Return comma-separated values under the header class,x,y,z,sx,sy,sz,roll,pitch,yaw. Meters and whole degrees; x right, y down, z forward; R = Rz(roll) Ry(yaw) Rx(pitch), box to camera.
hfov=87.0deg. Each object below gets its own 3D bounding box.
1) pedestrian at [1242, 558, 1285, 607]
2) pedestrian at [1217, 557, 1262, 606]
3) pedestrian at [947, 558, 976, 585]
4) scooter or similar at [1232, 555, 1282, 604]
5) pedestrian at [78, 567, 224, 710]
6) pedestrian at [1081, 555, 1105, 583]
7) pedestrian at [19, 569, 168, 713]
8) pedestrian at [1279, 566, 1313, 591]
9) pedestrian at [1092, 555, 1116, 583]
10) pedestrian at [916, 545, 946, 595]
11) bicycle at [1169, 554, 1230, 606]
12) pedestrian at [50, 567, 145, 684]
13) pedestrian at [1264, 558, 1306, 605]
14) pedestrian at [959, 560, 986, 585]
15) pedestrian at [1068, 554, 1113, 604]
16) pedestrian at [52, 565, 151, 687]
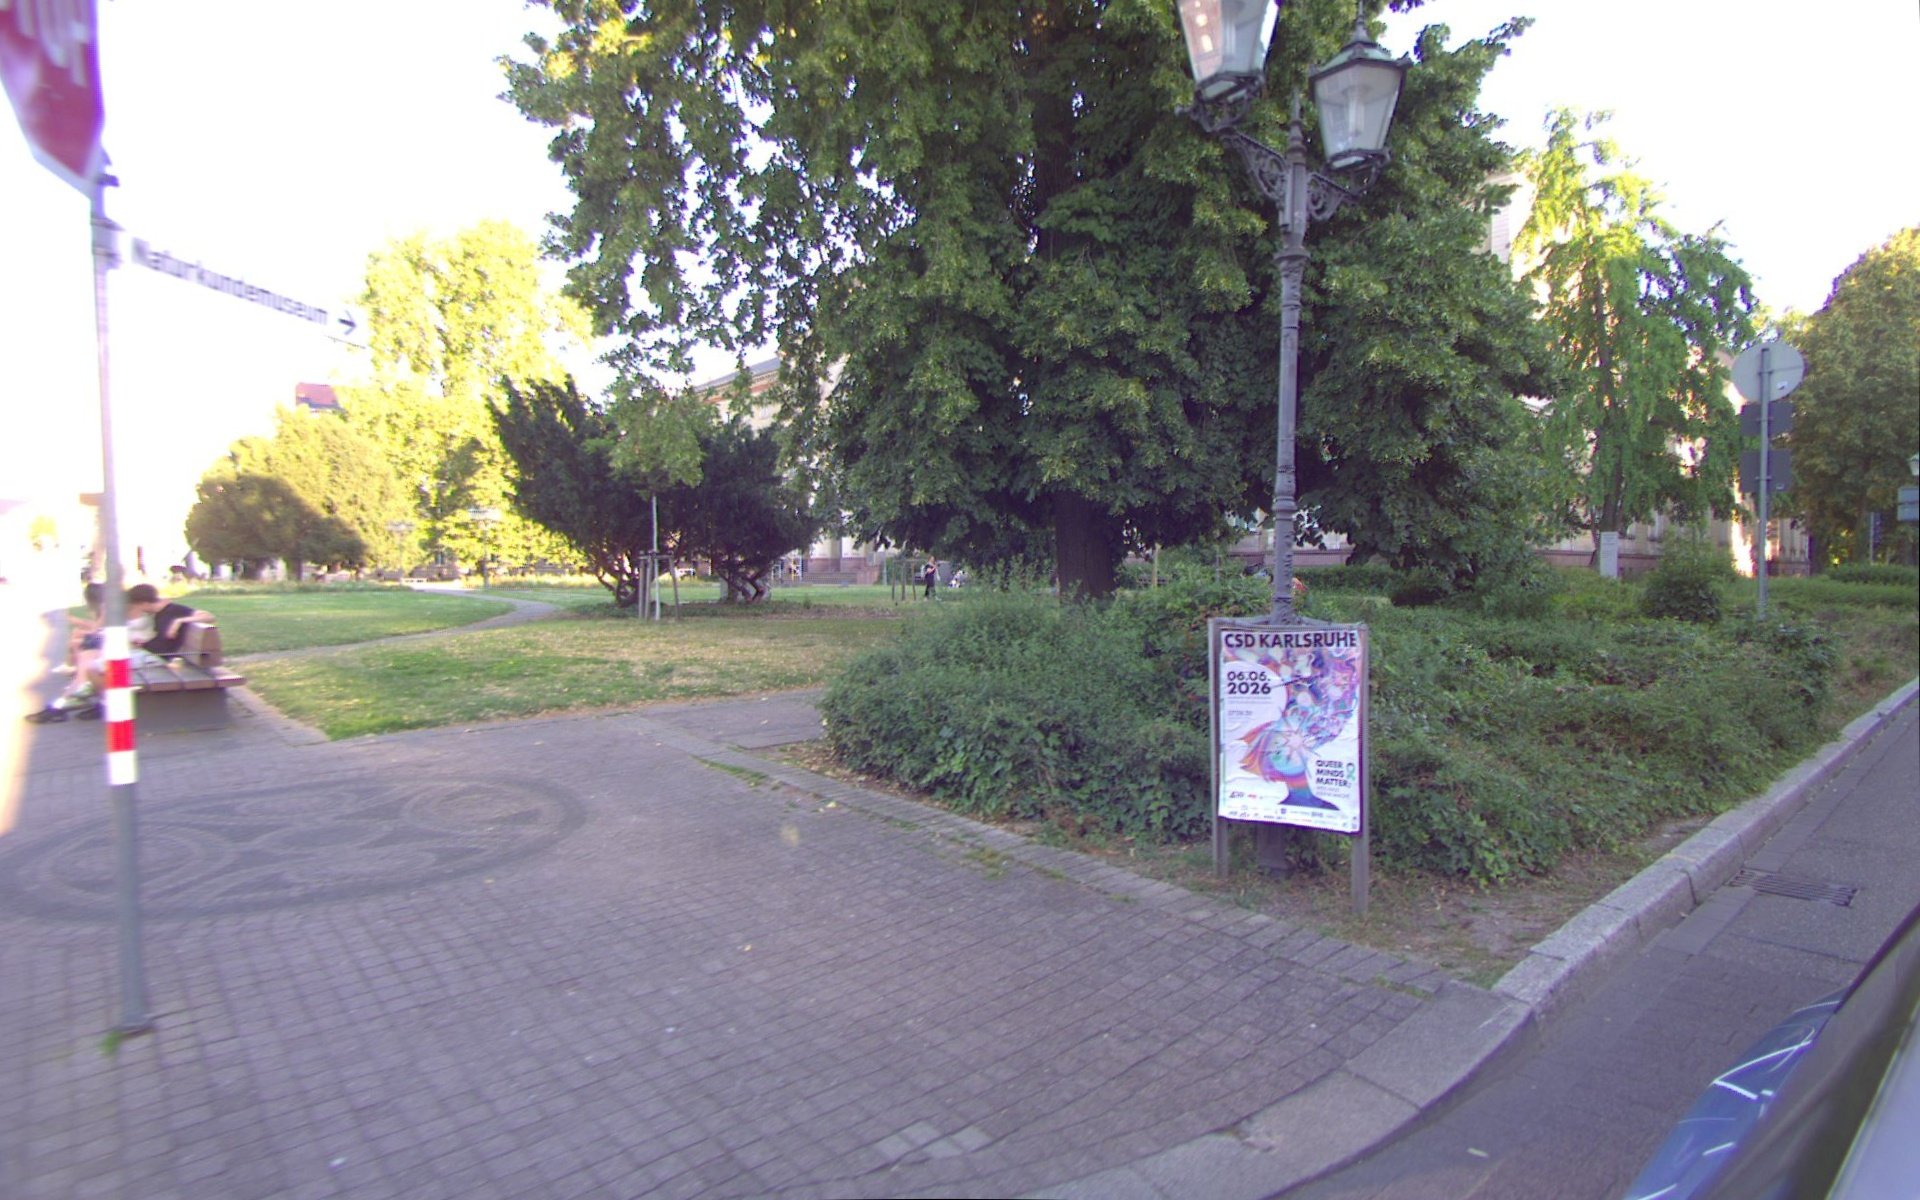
class,x,y,z,sx,sy,sz,roll,pitch,yaw
pedestrian,7.534,-0.451,25.152,0.733,1.206,0.724,-1,3,-38
pedestrian,7.136,-0.490,25.834,0.775,1.206,0.809,-1,3,-38
pedestrian,0.090,-1.673,59.393,1.540,1.575,0.801,-2,3,-41
scooter or similar,7.867,-0.550,26.806,1.212,1.261,0.413,2,2,34
pedestrian,-7.486,0.325,9.396,0.675,1.252,0.813,1,2,19
pedestrian,6.796,-1.573,51.691,1.026,1.414,0.695,-1,3,-41
pedestrian,-8.125,0.348,9.518,0.590,1.277,0.868,0,2,18
pedestrian,8.413,-0.545,25.305,0.537,0.556,1.364,5,5,29
pedestrian,7.264,-1.568,50.926,1.026,1.414,0.695,-1,3,-41
pedestrian,-1.021,-1.076,36.089,0.746,1.768,0.771,-2,3,-44
bicycle,6.333,-0.543,26.675,0.619,1.316,1.987,2,3,44
pedestrian,-10.467,0.277,12.283,0.596,1.358,0.806,2,2,43
pedestrian,8.405,-0.486,26.195,0.778,1.206,0.666,0,2,-13
pedestrian,0.726,-1.588,58.503,1.427,1.414,0.694,-2,3,-41
pedestrian,3.581,-0.589,27.762,0.913,1.364,0.874,1,2,34
pedestrian,-10.011,0.276,11.808,0.596,1.358,0.806,2,2,43
